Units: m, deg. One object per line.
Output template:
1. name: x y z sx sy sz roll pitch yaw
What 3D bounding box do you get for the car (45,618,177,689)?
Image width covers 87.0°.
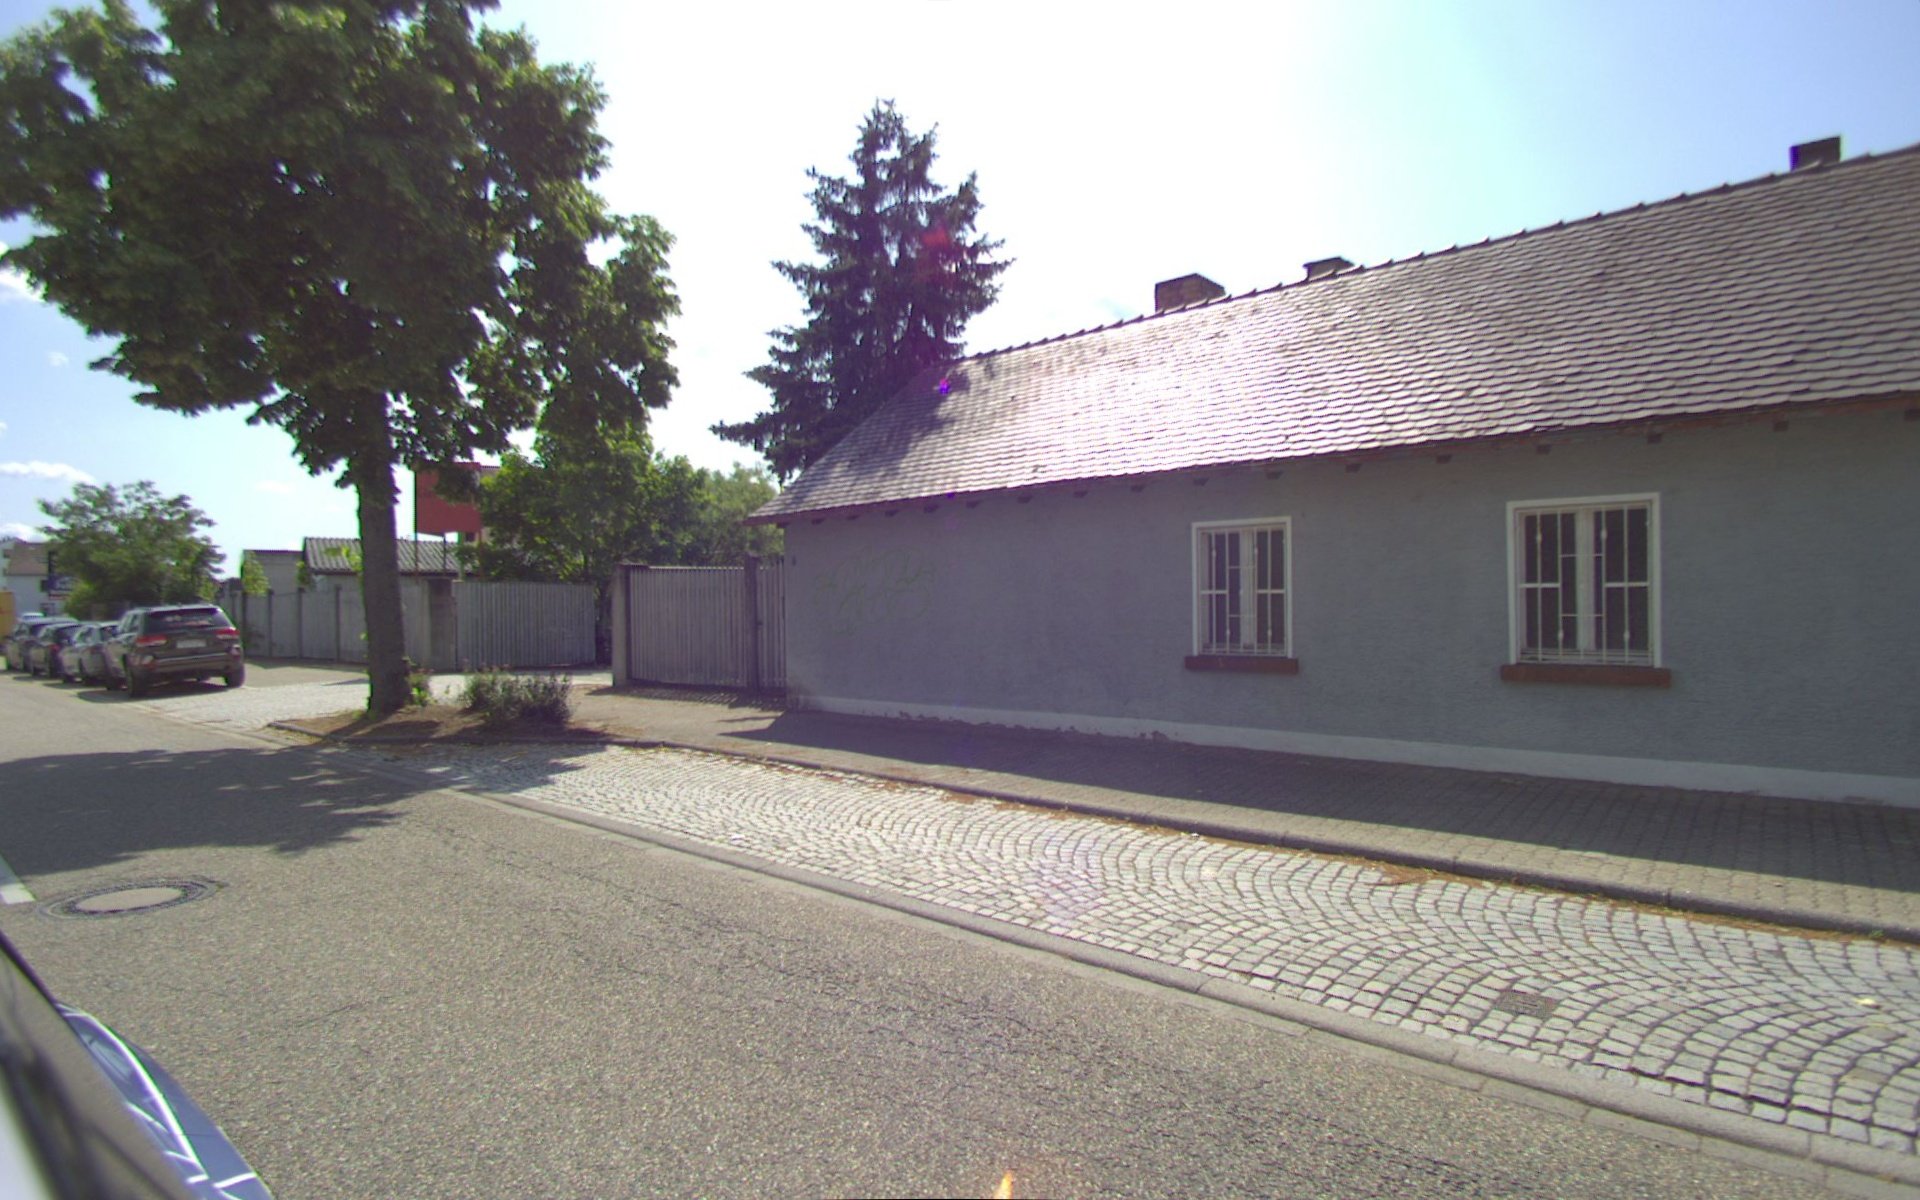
1. car: -21.139 1.279 25.139 4.739 1.529 1.716 -2 1 41

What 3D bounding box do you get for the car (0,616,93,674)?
1. car: -29.221 1.404 32.170 4.410 1.616 1.708 -1 2 39

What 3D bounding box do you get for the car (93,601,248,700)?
1. car: -16.895 0.976 21.565 4.786 1.836 1.898 -1 1 44

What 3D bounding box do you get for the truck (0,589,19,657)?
1. truck: -44.404 1.098 45.461 7.100 2.884 2.292 -1 1 41

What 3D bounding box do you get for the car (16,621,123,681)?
1. car: -25.404 1.400 28.818 4.023 1.459 1.612 -1 3 40
